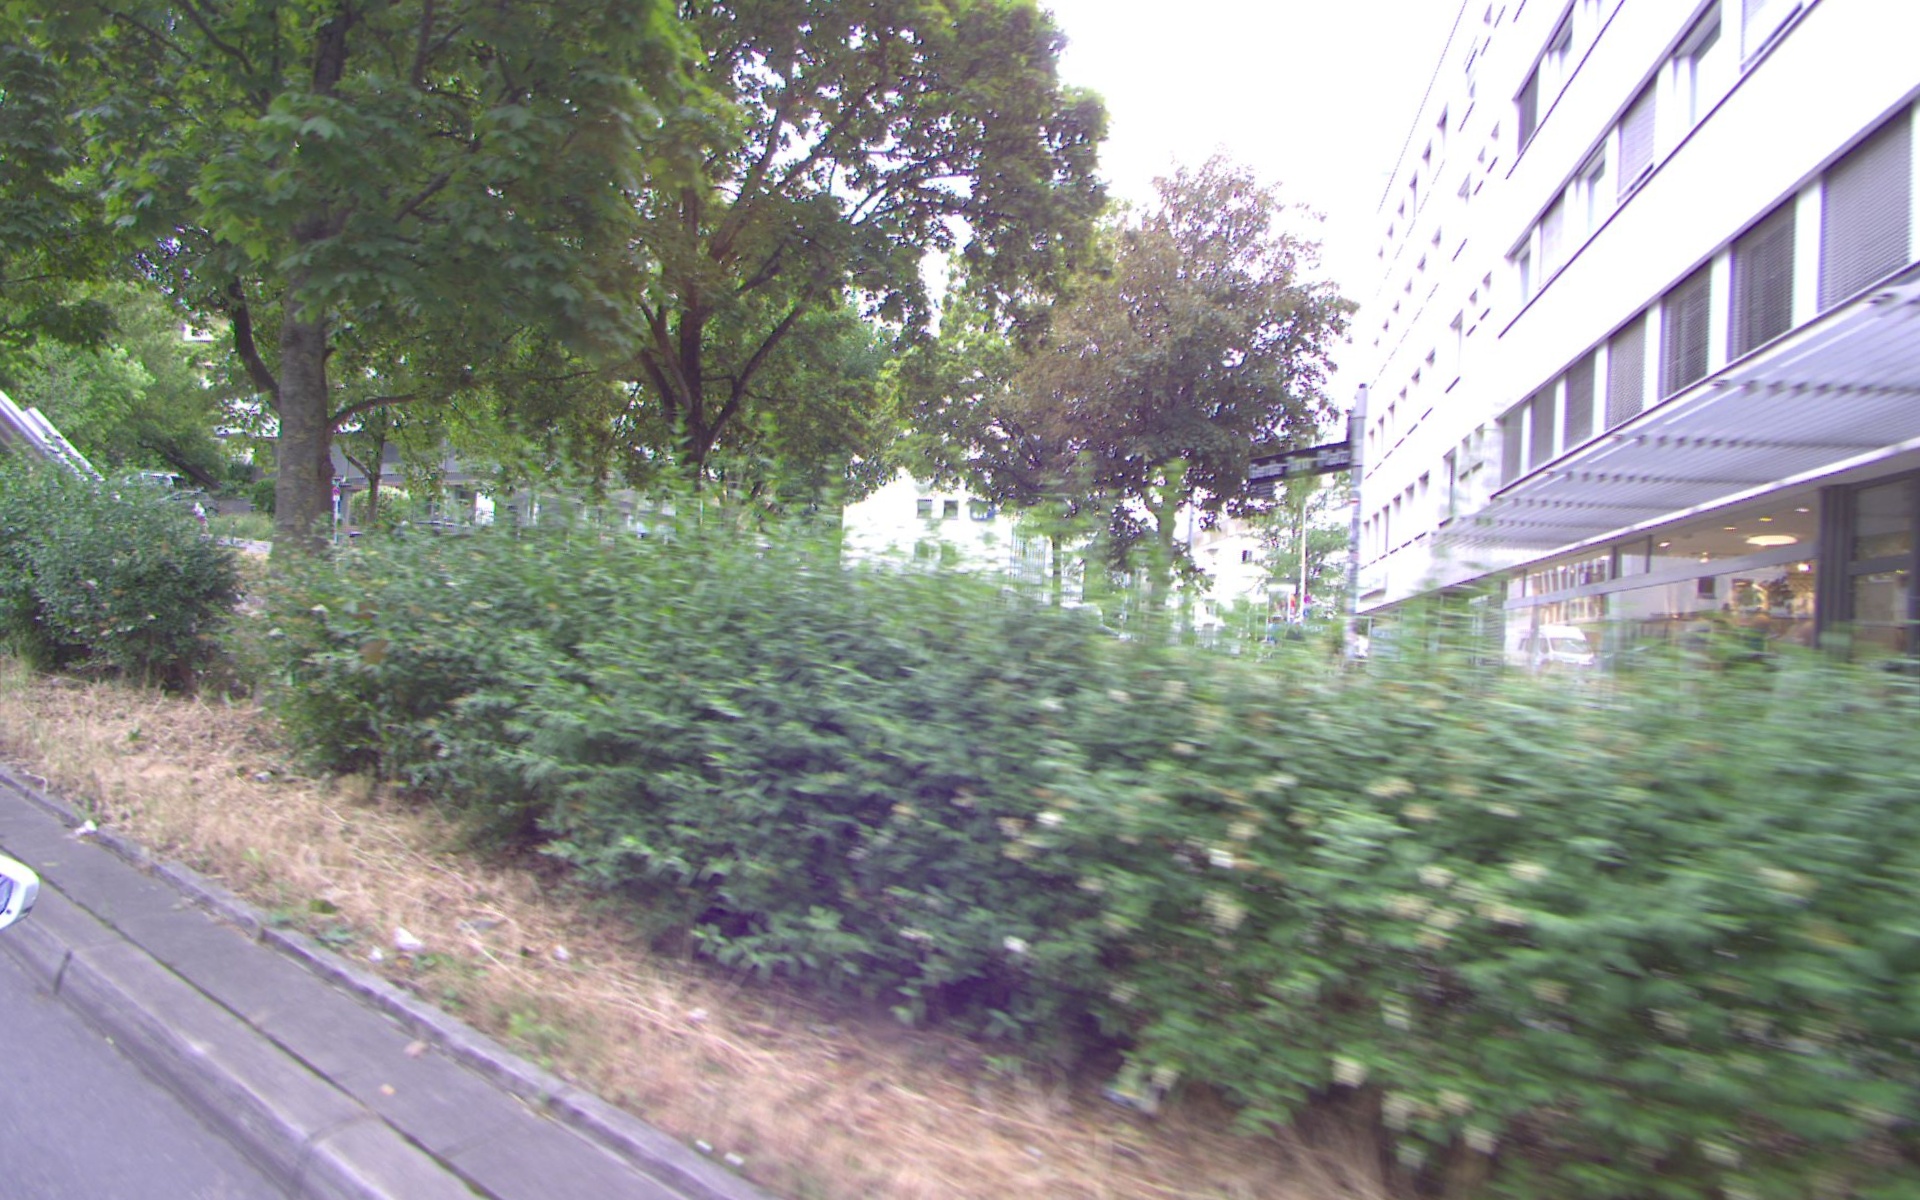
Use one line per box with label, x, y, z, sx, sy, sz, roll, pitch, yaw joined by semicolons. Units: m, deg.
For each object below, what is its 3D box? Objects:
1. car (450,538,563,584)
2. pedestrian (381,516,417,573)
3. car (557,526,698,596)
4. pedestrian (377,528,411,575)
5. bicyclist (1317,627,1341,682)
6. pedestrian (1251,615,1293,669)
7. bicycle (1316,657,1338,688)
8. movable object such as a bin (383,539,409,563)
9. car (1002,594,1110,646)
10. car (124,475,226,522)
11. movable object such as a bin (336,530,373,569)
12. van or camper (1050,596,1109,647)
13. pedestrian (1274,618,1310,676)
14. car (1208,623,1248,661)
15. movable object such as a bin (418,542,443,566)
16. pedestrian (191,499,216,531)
car;-18.715;-1.596;41.589;3.847;1.293;1.623;6;-4;5
pedestrian;-16.362;-1.609;29.331;0.609;1.561;0.549;7;1;31
car;-13.624;-1.579;41.376;4.888;2.049;2.033;7;-4;4
pedestrian;-16.999;-1.452;30.195;0.609;1.317;0.549;7;1;31
bicyclist;11.291;1.659;30.777;0.504;1.621;0.596;6;0;21
pedestrian;11.338;1.539;36.634;1.138;1.843;1.027;6;-2;8
bicycle;11.226;2.203;30.772;0.510;0.869;1.543;6;-1;20
movable object such as a bin;-28.540;-2.481;50.881;0.700;1.117;0.825;7;0;9
car;3.786;0.810;40.199;4.071;1.514;1.756;6;-4;3
car;-46.025;-5.936;59.080;1.964;2.038;4.139;7;0;25
movable object such as a bin;-18.900;-1.583;31.410;0.599;1.094;0.670;4;-4;33
van or camper;6.923;1.269;57.876;2.257;2.254;5.452;5;-4;17
pedestrian;10.520;1.506;31.853;0.861;1.722;0.880;6;0;21
car;15.469;2.442;58.038;1.953;1.702;4.008;5;-4;17
movable object such as a bin;-26.877;-2.333;51.109;0.668;1.117;0.825;7;0;9
pedestrian;-38.245;-4.297;50.856;0.665;1.518;0.560;6;1;7
